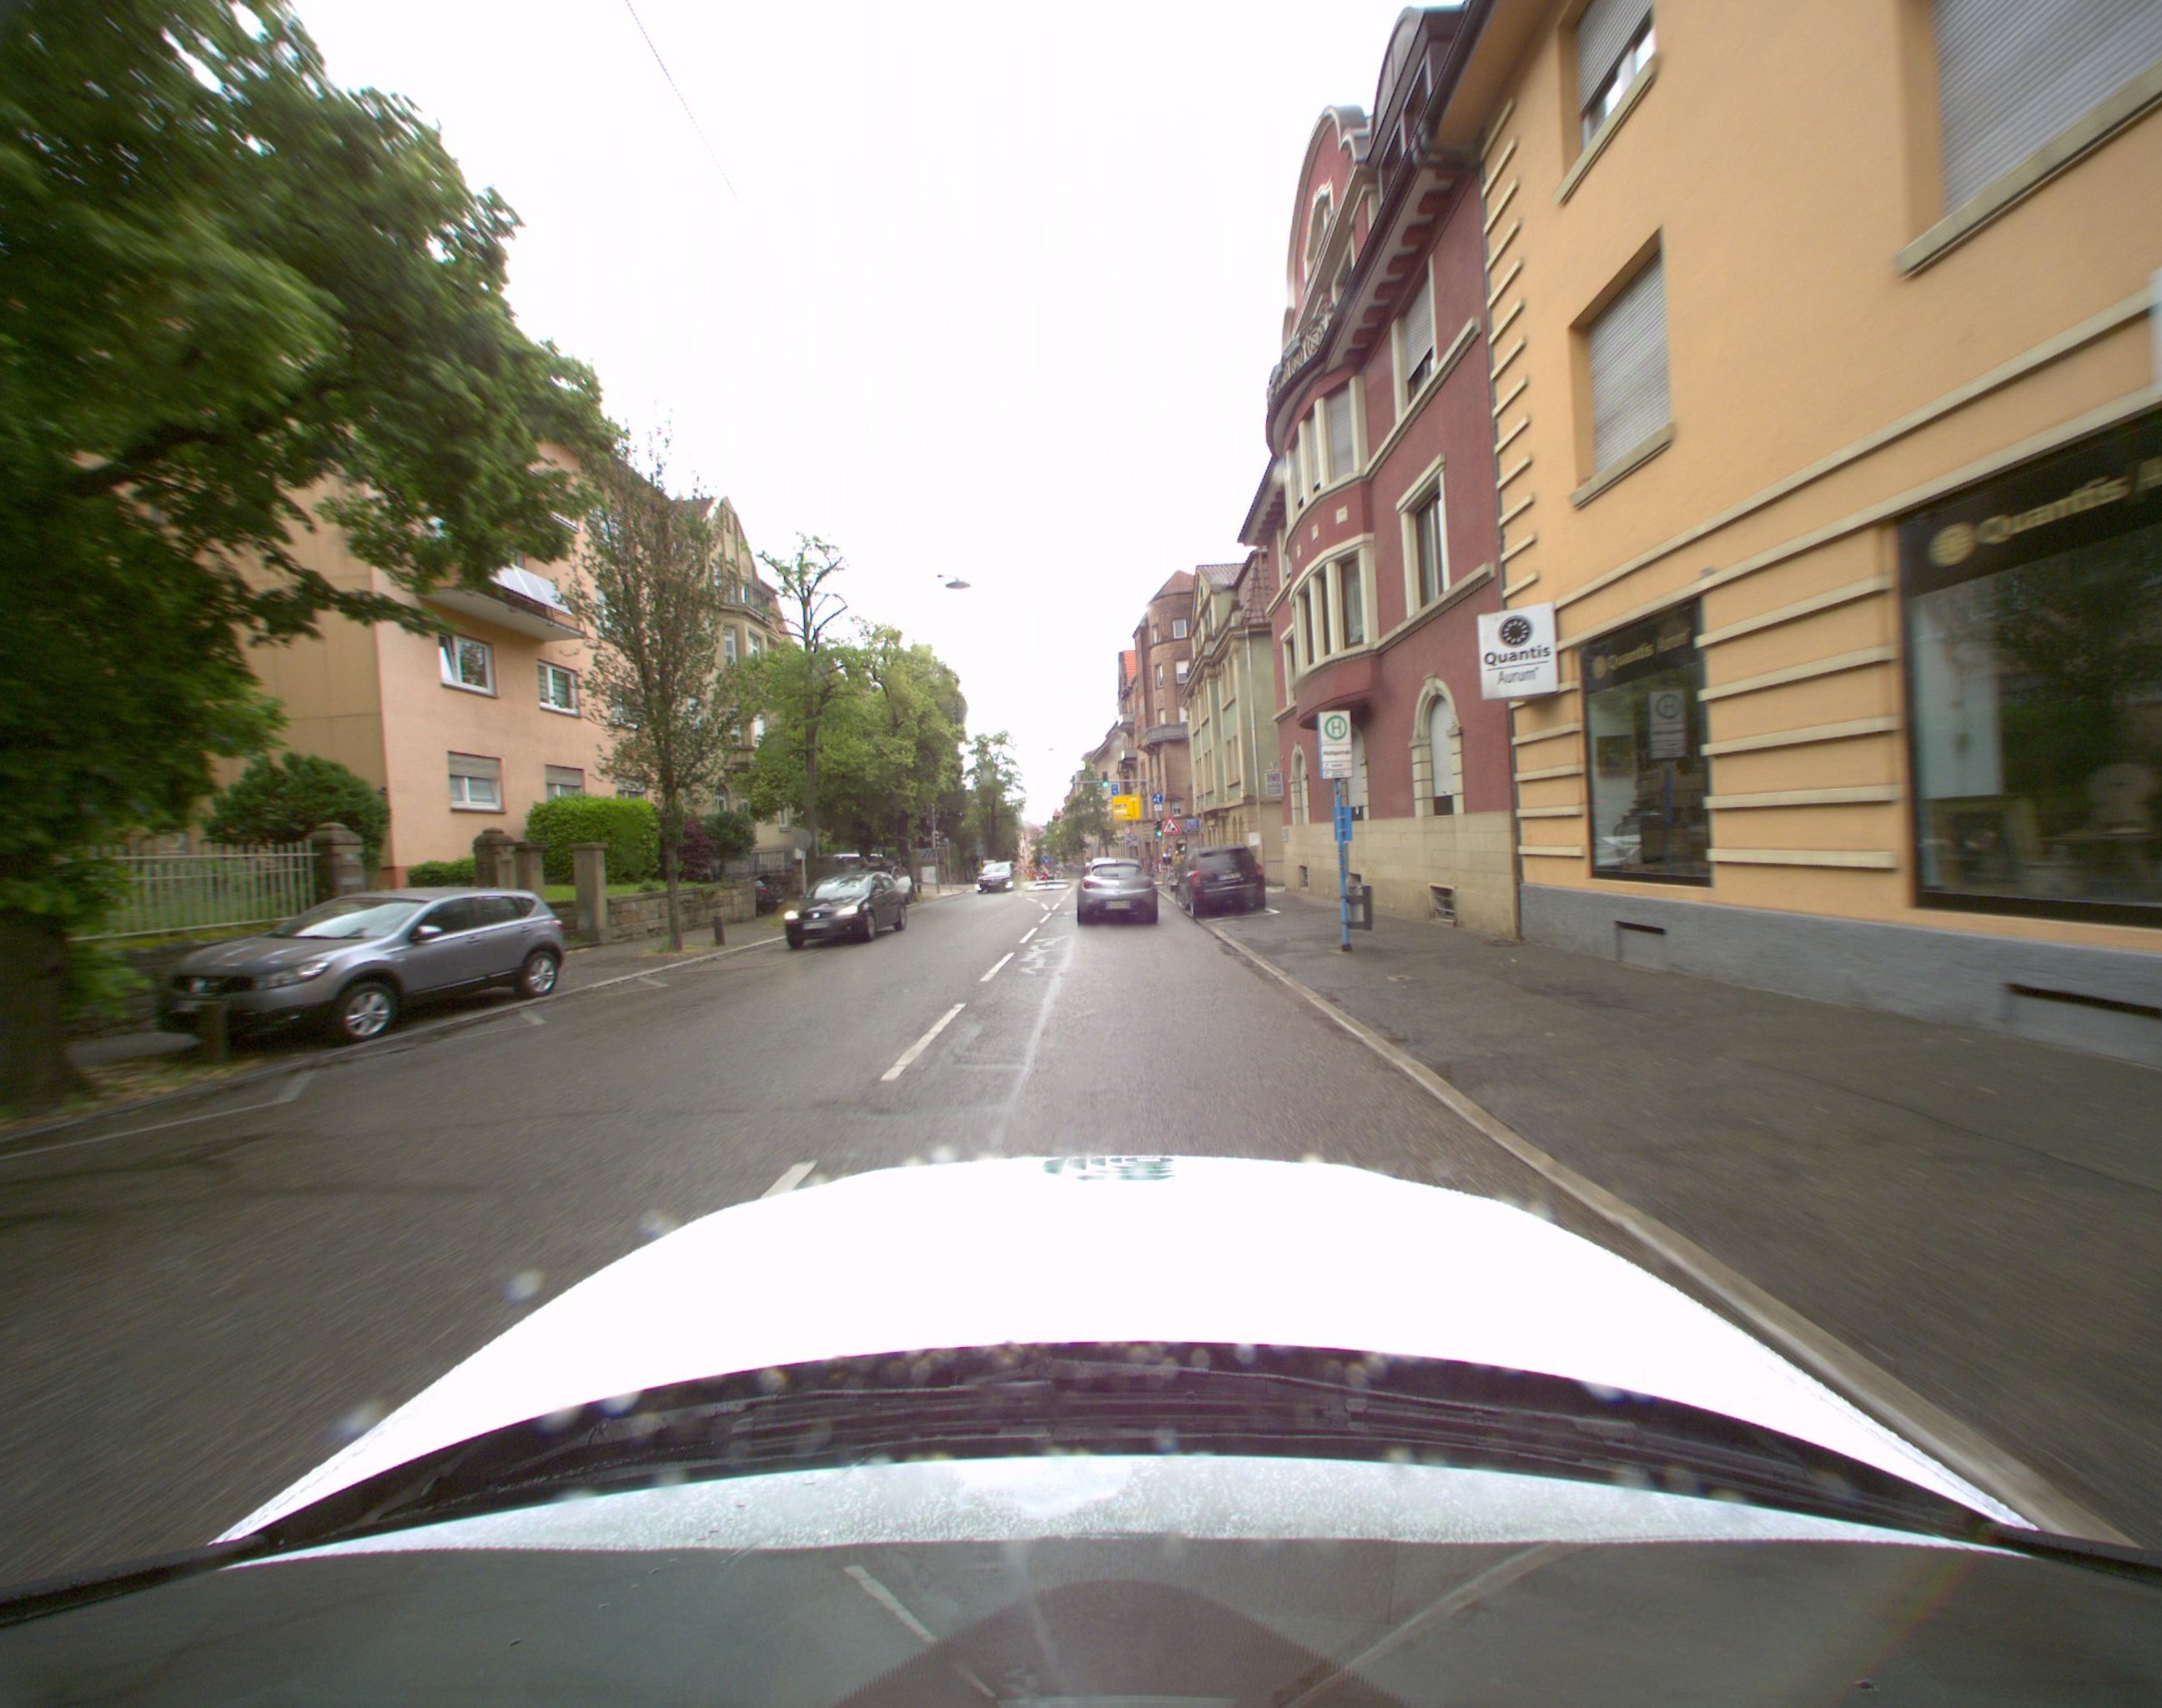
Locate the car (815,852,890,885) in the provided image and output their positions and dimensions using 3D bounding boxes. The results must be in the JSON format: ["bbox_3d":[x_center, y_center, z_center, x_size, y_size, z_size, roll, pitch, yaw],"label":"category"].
[{"bbox_3d":[-16.068,1.008,57.349,4.627,2.048,2.034,3,1,16],"label":"car"}]

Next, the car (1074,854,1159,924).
[{"bbox_3d":[0.872,0.798,19.553,1.804,1.450,3.871,-2,-1,3],"label":"car"}]

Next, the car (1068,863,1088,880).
[{"bbox_3d":[-0.374,1.788,84.341,1.654,1.543,3.658,-5,-2,-5],"label":"car"}]

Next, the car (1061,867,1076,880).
[{"bbox_3d":[-1.639,2.540,105.003,1.654,1.543,3.658,-5,-2,-5],"label":"car"}]

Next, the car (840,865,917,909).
[{"bbox_3d":[-7.801,1.267,31.770,1.734,1.559,4.304,-1,-1,2],"label":"car"}]

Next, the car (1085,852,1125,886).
[{"bbox_3d":[1.180,0.713,39.423,1.765,1.504,3.871,-2,-1,2],"label":"car"}]

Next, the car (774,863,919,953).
[{"bbox_3d":[-5.106,1.101,18.448,1.766,1.517,4.592,-4,1,1],"label":"car"}]

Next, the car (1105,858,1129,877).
[{"bbox_3d":[3.345,1.301,75.668,1.654,1.543,3.658,-5,-2,-5],"label":"car"}]

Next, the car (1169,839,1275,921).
[{"bbox_3d":[3.392,0.636,20.421,1.869,1.629,4.699,-6,-2,2],"label":"car"}]

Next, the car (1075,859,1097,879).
[{"bbox_3d":[0.424,1.292,69.225,1.652,1.543,3.663,-5,-2,-1],"label":"car"}]

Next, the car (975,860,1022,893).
[{"bbox_3d":[-4.128,1.106,41.249,1.809,1.517,4.548,-2,-1,1],"label":"car"}]

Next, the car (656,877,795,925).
[{"bbox_3d":[-12.365,1.614,28.538,3.974,1.326,1.837,-3,0,0],"label":"car"}]

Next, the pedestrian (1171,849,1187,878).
[{"bbox_3d":[5.537,0.548,46.072,0.592,1.584,0.669,-5,0,20],"label":"pedestrian"}]

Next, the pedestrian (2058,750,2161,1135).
[{"bbox_3d":[4.844,0.344,3.364,0.768,1.590,0.708,-3,-2,-17],"label":"pedestrian"}]

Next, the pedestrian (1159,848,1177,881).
[{"bbox_3d":[4.955,0.582,46.492,0.712,1.774,0.669,-5,0,20],"label":"pedestrian"}]

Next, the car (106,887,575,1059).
[{"bbox_3d":[-8.549,1.247,10.075,1.734,1.559,4.304,-1,-1,2],"label":"car"}]
